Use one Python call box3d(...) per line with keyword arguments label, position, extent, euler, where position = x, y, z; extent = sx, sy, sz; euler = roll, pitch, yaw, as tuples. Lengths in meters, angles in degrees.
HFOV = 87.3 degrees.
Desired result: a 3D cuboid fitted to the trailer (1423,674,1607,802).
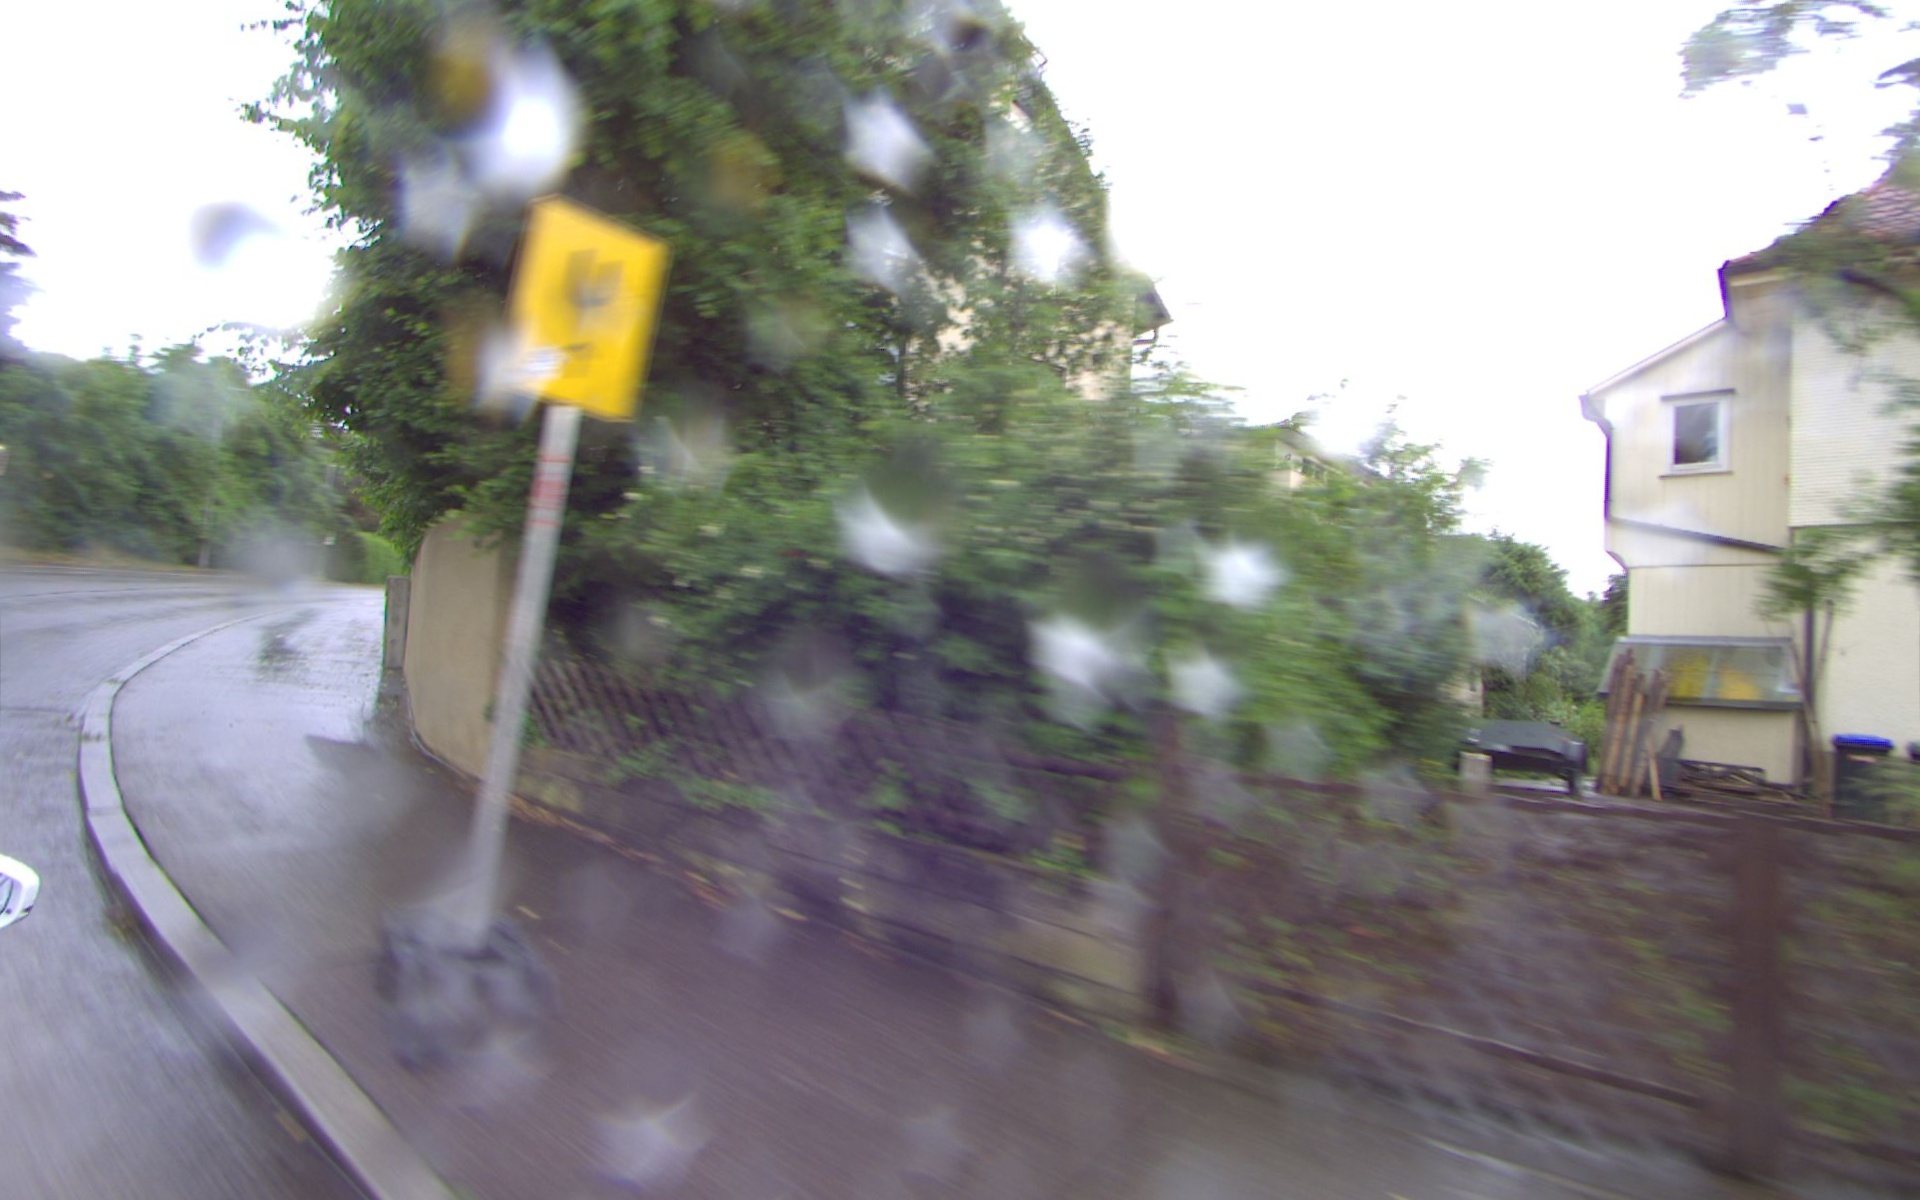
box3d(label="trailer", position=(6.527, 1.620, 11.706), extent=(1.385, 1.125, 2.964), euler=(5, -4, 38))
